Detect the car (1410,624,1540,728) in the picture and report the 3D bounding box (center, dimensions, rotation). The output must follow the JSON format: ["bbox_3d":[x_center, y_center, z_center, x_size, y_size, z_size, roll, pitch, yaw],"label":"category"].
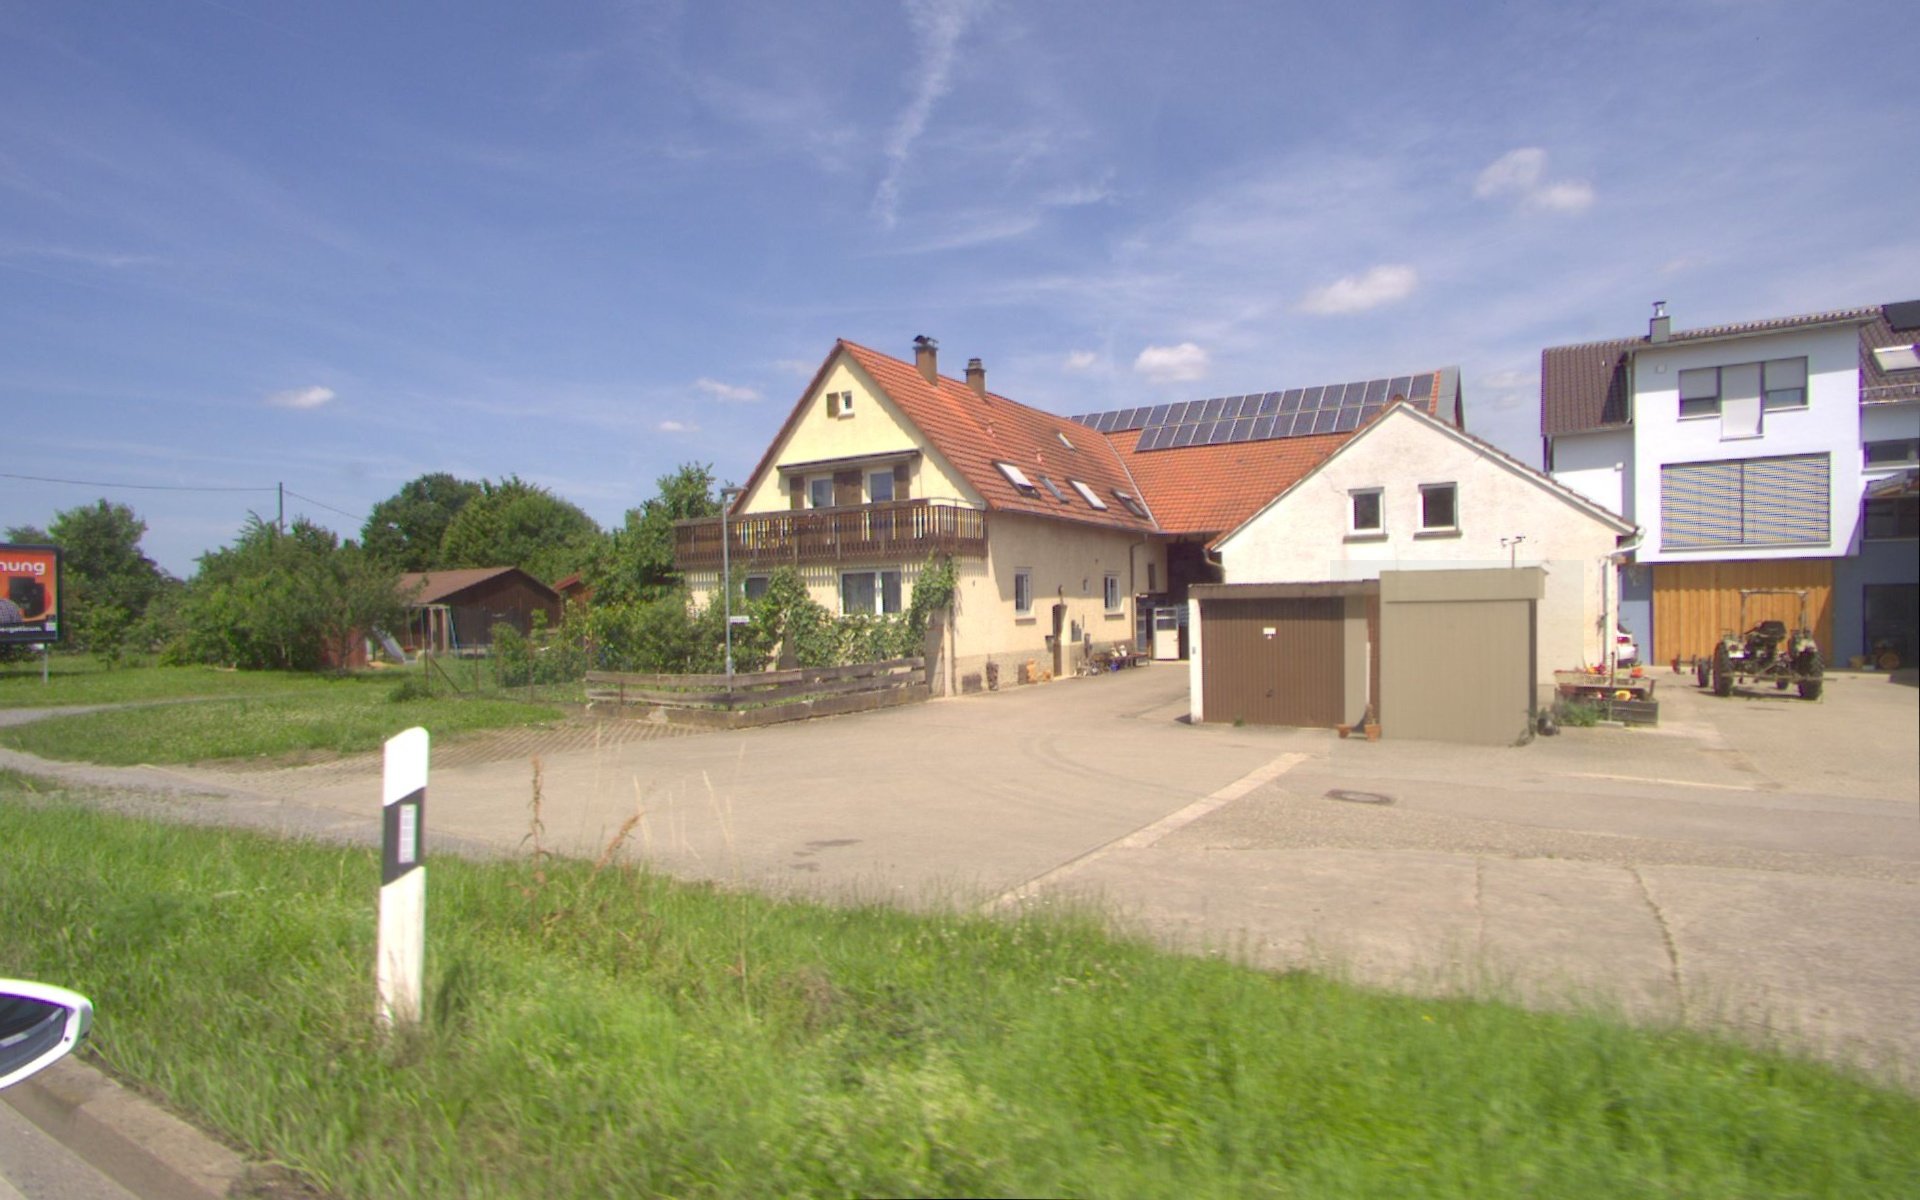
[{"bbox_3d":[9.549,1.304,18.422,1.808,1.599,3.979,-1,-1,32],"label":"car"}]

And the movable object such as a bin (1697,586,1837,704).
[{"bbox_3d":[17.664,0.881,22.112,2.050,2.375,3.698,1,1,34],"label":"movable object such as a bin"}]

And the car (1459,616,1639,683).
[{"bbox_3d":[15.426,1.275,26.344,3.943,1.639,1.751,-2,-1,32],"label":"car"}]
